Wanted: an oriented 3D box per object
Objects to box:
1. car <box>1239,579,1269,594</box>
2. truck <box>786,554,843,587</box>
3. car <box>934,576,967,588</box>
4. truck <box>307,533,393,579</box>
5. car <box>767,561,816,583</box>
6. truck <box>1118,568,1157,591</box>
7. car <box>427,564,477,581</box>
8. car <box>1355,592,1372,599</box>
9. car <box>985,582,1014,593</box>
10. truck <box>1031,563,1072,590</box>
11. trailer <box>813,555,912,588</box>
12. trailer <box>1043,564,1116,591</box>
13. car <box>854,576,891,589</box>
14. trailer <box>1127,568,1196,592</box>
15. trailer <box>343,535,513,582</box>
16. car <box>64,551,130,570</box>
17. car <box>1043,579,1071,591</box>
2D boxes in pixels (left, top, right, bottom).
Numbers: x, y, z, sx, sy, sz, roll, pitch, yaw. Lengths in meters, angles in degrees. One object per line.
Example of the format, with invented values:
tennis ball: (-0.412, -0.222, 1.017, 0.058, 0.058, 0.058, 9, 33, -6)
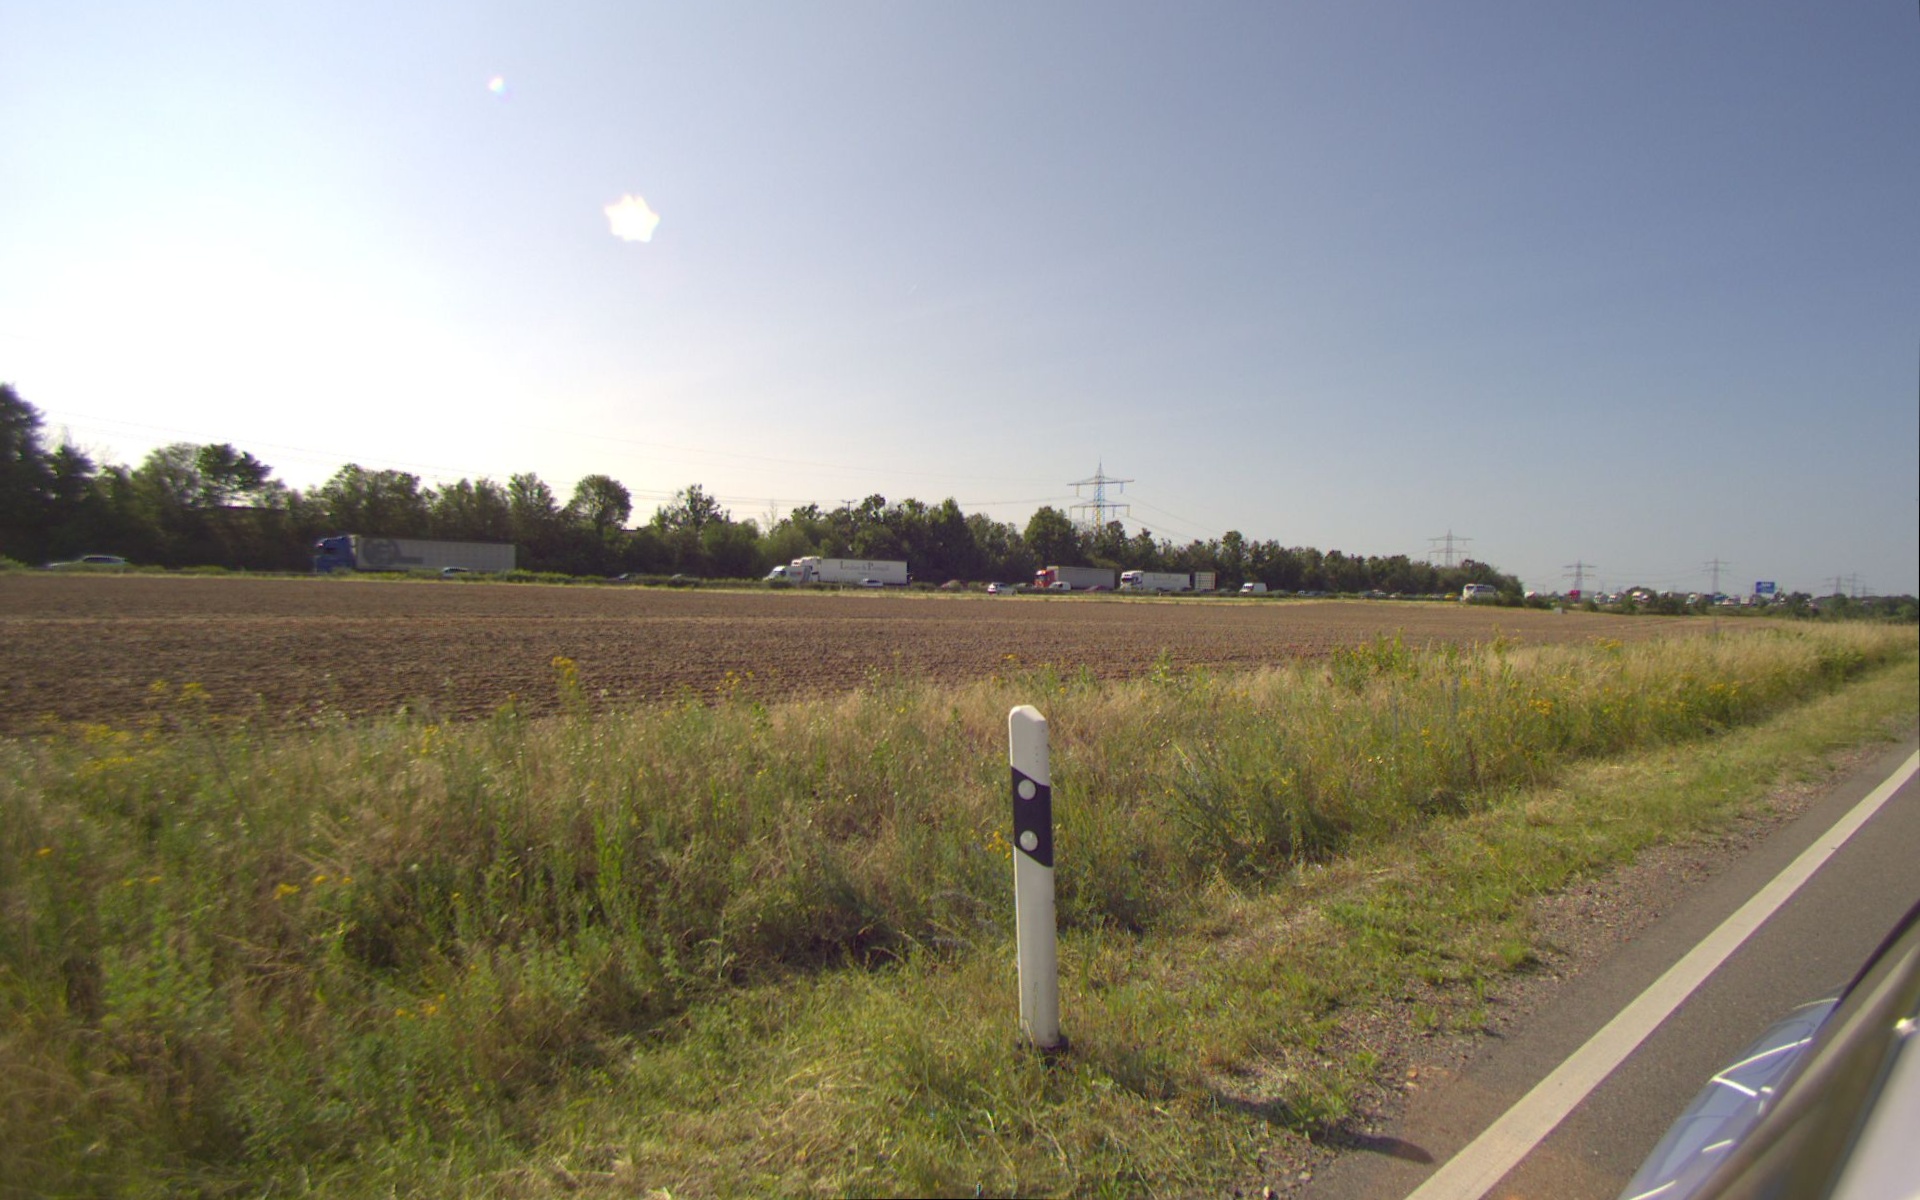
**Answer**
car: (52.075, -2.347, 179.277, 6.303, 2.478, 2.040, 0, 0, -42)
truck: (-17.449, -3.550, 121.424, 6.012, 3.780, 3.076, 1, 1, -42)
car: (-1.192, -2.236, 129.136, 4.176, 1.403, 1.852, 1, 0, -43)
truck: (-53.230, -3.759, 88.345, 5.981, 3.780, 3.077, 1, 1, -42)
car: (-18.527, -3.013, 111.556, 5.149, 2.228, 1.907, 1, -1, -43)
truck: (28.825, -3.306, 164.397, 6.006, 3.575, 3.207, 1, 2, -43)
car: (-43.790, -2.354, 87.251, 3.542, 1.403, 1.493, 1, -1, -43)
car: (74.821, -0.761, 187.698, 3.558, 1.250, 1.547, 1, -2, -43)
car: (4.780, -1.489, 122.769, 3.558, 1.250, 1.547, 1, -2, -43)
truck: (13.701, -3.464, 150.871, 5.770, 3.780, 2.949, 1, 1, -43)
trailer: (-12.023, -3.507, 126.362, 13.136, 3.780, 3.076, 1, 1, -42)
trailer: (18.446, -3.429, 155.309, 13.549, 3.780, 2.949, 1, 1, -43)
car: (-10.407, -2.037, 120.353, 4.176, 1.403, 1.852, 1, 0, -43)
trailer: (33.853, -3.258, 169.213, 14.830, 3.575, 3.206, 1, 2, -44)
trailer: (-48.430, -3.727, 92.625, 13.393, 3.780, 3.077, 1, 1, -42)
car: (-60.920, -2.804, 71.458, 3.520, 1.166, 1.396, 1, 0, -43)
car: (13.603, -2.121, 142.054, 4.025, 1.659, 1.704, 0, 0, -44)
